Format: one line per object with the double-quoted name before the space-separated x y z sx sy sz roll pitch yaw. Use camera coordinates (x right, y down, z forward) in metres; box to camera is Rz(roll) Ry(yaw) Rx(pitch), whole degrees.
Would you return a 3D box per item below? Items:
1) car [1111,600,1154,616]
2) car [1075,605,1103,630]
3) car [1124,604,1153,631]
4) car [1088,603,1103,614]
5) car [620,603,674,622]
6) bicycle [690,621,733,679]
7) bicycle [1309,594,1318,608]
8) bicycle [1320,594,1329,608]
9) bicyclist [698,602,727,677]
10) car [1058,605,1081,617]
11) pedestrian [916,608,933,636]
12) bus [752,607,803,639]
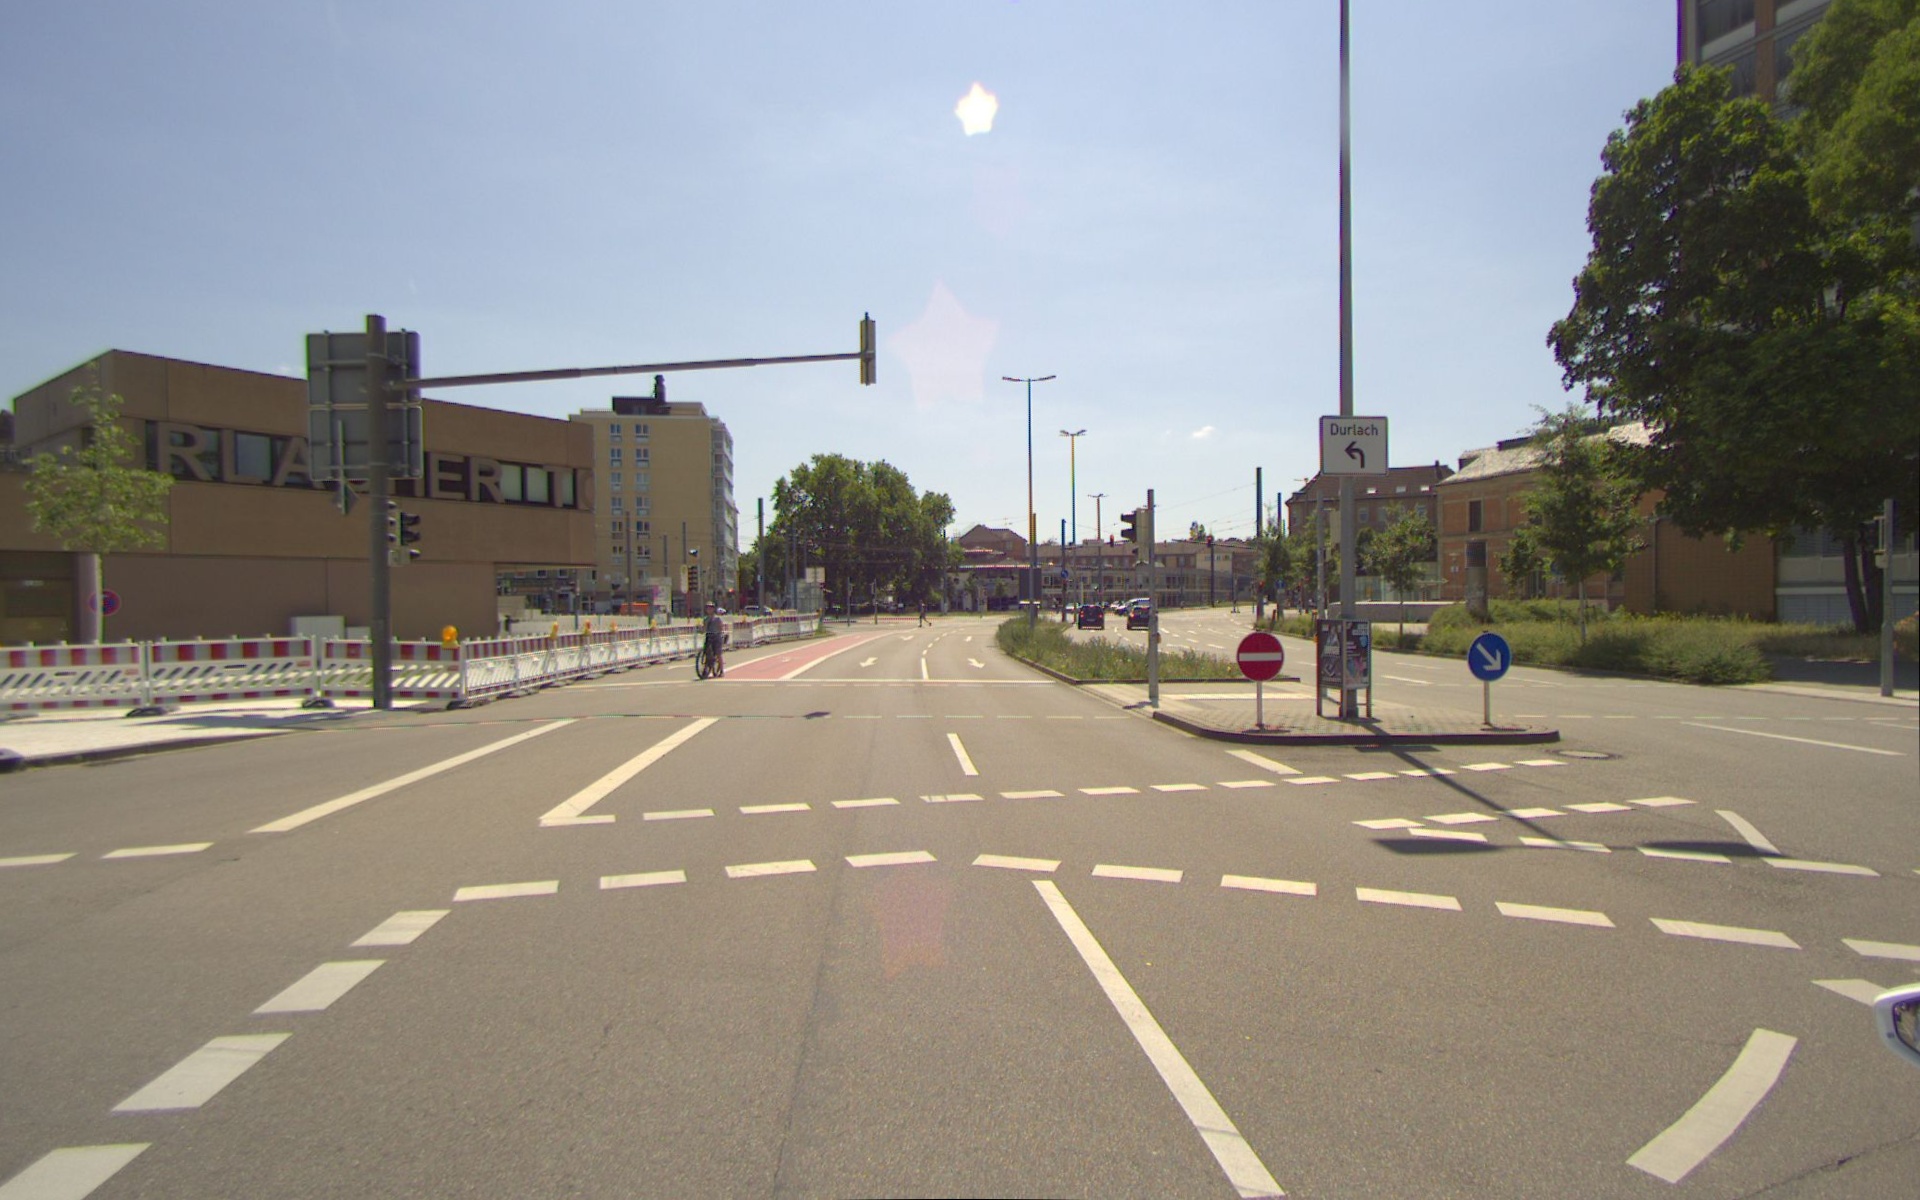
"car" 18.769 0.848 109.480 4.243 1.649 1.811 -1 2 -11
"car" 8.010 1.077 62.189 1.593 1.483 4.002 0 0 9
"car" 10.997 1.038 62.116 1.687 1.577 4.589 0 0 9
"car" 18.515 1.130 137.247 1.408 1.303 3.259 1 2 21
"car" -28.890 1.151 92.799 4.550 1.635 1.674 0 2 -6
"bicycle" -5.376 1.058 21.812 0.514 1.196 1.898 0 -1 -2
"bicycle" 48.191 0.072 136.814 0.601 1.812 3.182 0 2 9
"bicycle" 49.567 0.155 136.501 0.601 1.812 3.182 0 2 9
"bicyclist" -5.367 0.856 21.770 0.521 1.600 0.498 0 0 -2
"car" 13.828 1.418 127.036 1.594 1.409 4.120 -1 0 26
"pedestrian" -2.564 1.583 72.265 1.159 1.959 0.902 0 2 3
"bus" -8.908 1.087 49.504 1.223 1.266 5.820 0 2 2
